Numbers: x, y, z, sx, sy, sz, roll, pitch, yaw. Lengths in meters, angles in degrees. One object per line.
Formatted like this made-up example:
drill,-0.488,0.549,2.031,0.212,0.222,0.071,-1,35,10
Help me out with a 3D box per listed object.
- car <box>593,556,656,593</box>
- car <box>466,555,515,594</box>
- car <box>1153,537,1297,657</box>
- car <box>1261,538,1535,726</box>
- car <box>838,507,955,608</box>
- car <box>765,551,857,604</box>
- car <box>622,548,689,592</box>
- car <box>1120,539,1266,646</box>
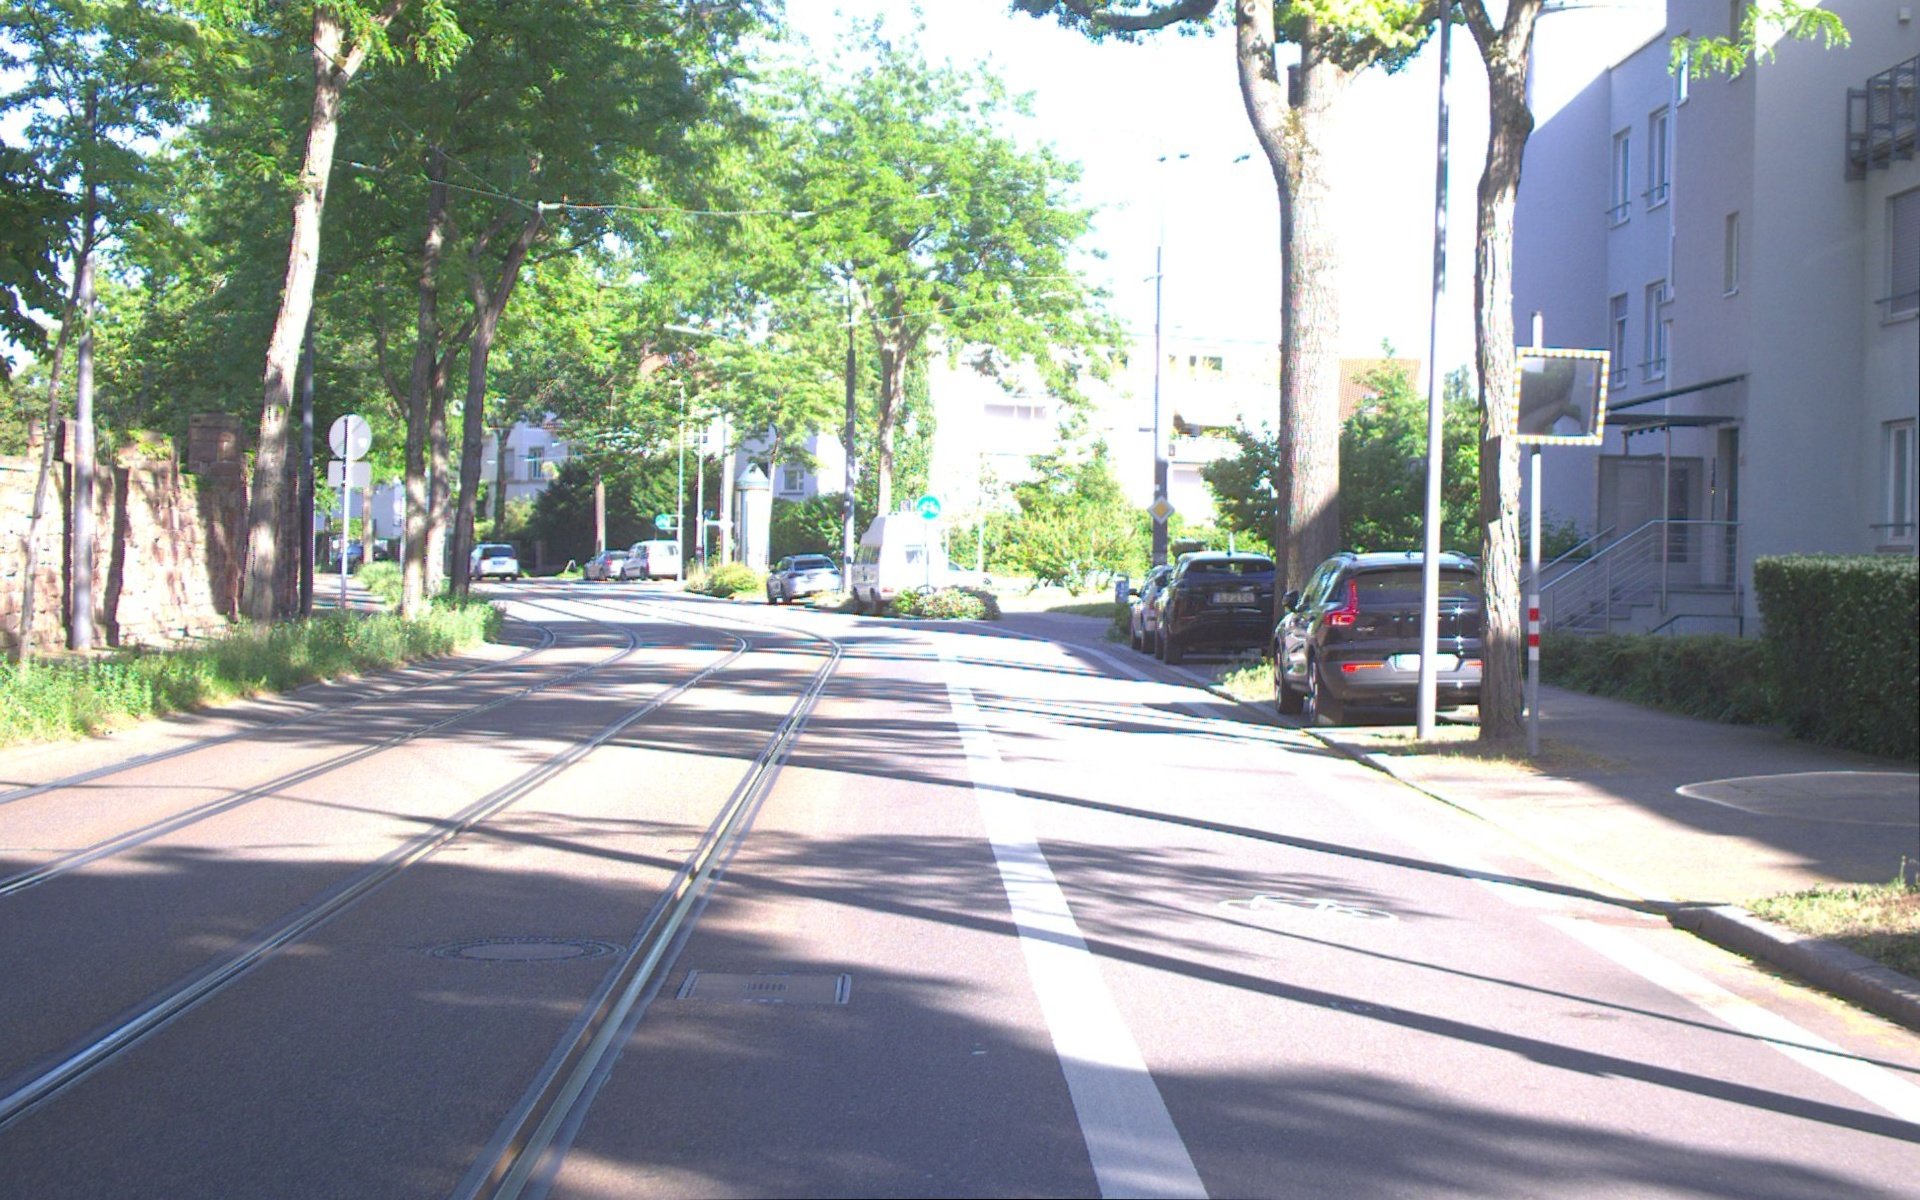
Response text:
car,-15.665,-1.218,160.380,2.002,1.669,4.174,-1,1,-18
car,-21.167,-1.152,154.803,1.865,1.669,4.174,0,1,-12
car,3.864,-0.081,50.763,2.003,1.669,4.392,-1,1,3
car,4.160,0.255,33.357,2.003,1.669,4.392,-1,1,-1
car,-1.633,-1.080,86.775,1.993,2.449,4.510,0,1,-14
car,-4.559,-0.694,104.664,2.002,1.555,4.394,0,1,-13
car,-13.696,-1.352,154.461,2.002,1.903,4.393,-1,1,-18
car,3.800,-0.152,56.760,2.003,1.669,4.393,-1,1,-1
